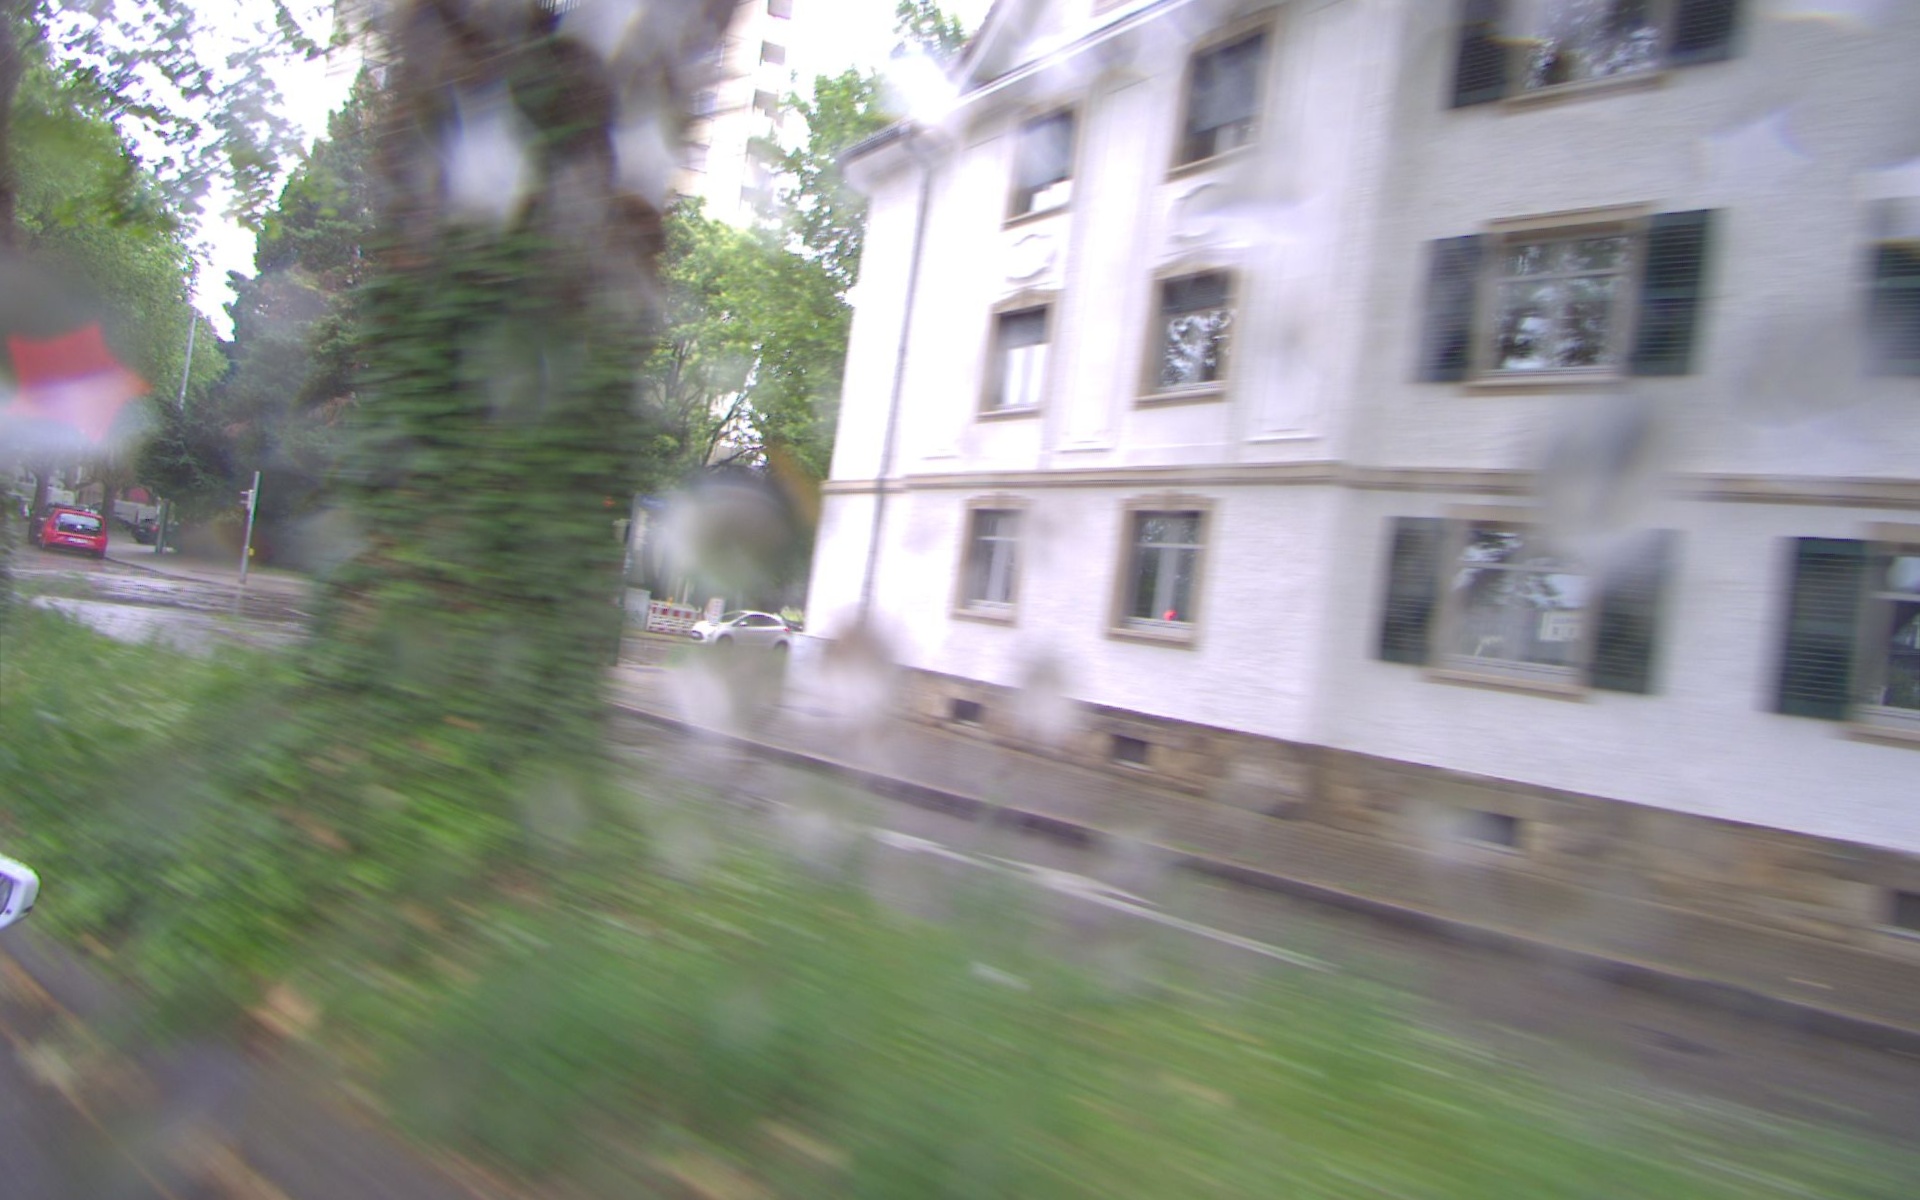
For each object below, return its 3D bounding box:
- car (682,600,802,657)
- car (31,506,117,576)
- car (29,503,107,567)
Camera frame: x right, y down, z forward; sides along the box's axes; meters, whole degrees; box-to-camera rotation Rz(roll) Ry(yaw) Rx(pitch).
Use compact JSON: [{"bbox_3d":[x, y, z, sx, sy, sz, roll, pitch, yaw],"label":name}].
[{"bbox_3d":[-7.624,1.018,35.338,3.628,1.504,1.705,8,-1,-41],"label":"car"},{"bbox_3d":[-30.762,-2.085,35.011,1.986,2.038,3.953,8,0,-41],"label":"car"},{"bbox_3d":[-34.151,-2.509,38.602,1.986,2.038,3.953,8,0,-41],"label":"car"}]
